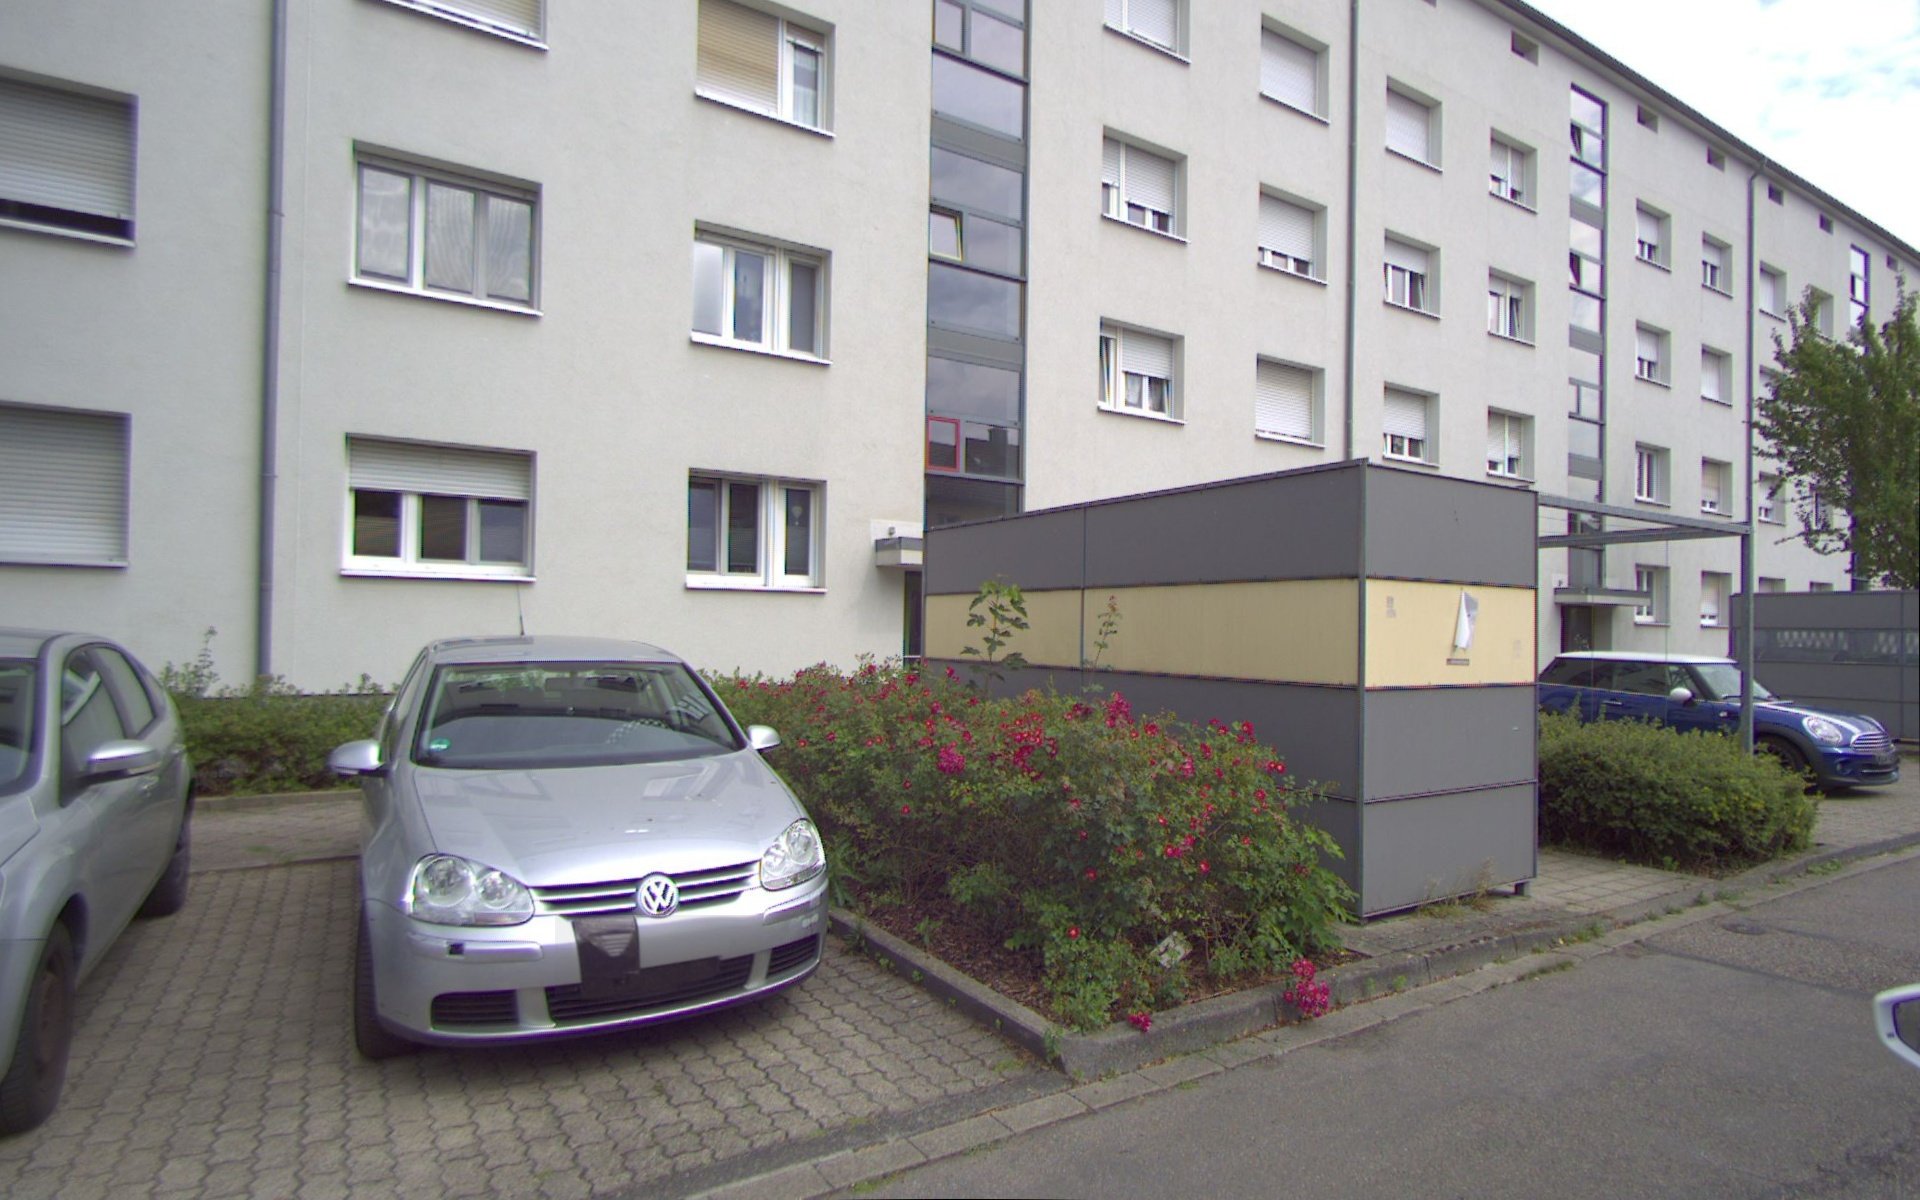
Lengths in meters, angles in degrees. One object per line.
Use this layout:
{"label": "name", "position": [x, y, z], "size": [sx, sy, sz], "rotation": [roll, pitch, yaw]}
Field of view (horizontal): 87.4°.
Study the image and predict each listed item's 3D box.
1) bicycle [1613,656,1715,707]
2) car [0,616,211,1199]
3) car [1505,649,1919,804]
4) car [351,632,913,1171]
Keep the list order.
{"label": "bicycle", "position": [15.542, 1.790, 22.221], "size": [1.775, 1.038, 0.479], "rotation": [0, -1, 18]}
{"label": "car", "position": [-4.081, 0.839, 3.640], "size": [1.762, 1.525, 4.031], "rotation": [2, -3, -31]}
{"label": "car", "position": [8.602, 1.328, 11.763], "size": [1.632, 1.480, 3.621], "rotation": [2, -3, -28]}
{"label": "car", "position": [-1.966, 0.923, 4.987], "size": [1.762, 1.483, 4.031], "rotation": [2, -3, -31]}
